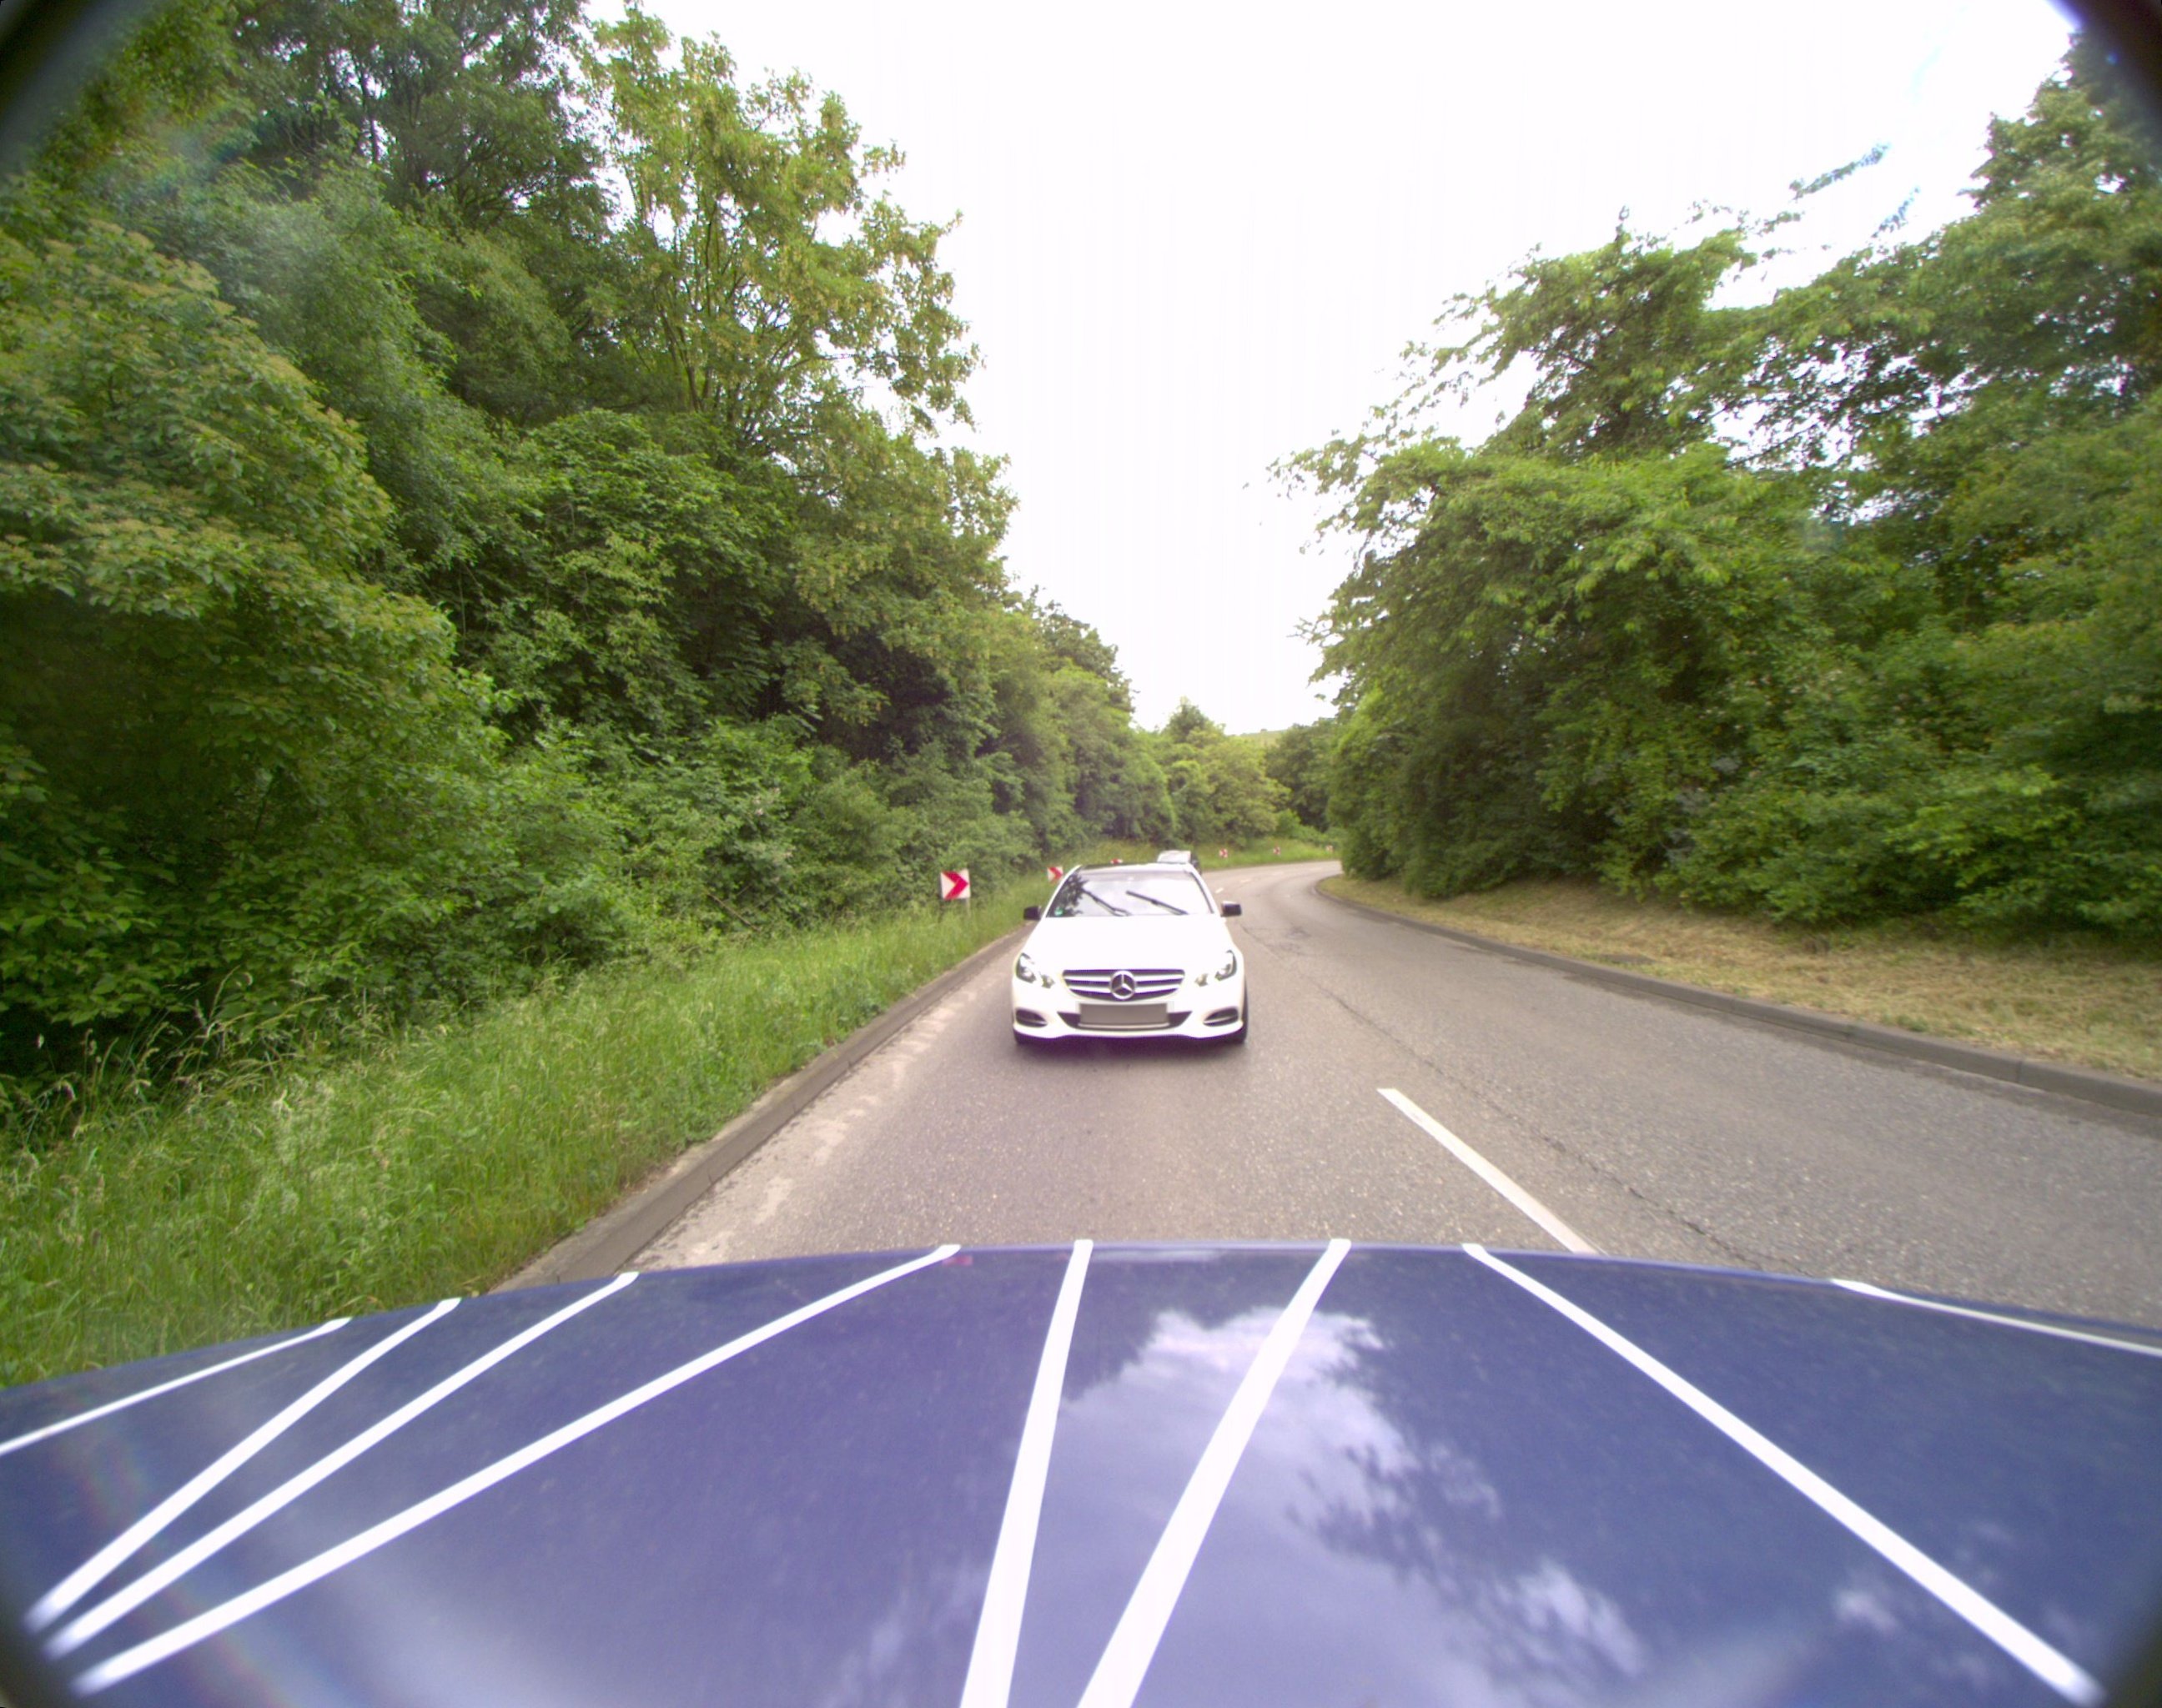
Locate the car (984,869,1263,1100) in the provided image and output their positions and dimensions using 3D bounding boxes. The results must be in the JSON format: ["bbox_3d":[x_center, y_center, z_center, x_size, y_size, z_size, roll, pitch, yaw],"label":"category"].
[{"bbox_3d":[0.468,0.939,7.332,1.866,1.423,4.357,-1,0,5],"label":"car"}]

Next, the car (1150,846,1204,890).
[{"bbox_3d":[4.003,0.526,31.338,1.551,1.635,3.744,2,2,17],"label":"car"}]
